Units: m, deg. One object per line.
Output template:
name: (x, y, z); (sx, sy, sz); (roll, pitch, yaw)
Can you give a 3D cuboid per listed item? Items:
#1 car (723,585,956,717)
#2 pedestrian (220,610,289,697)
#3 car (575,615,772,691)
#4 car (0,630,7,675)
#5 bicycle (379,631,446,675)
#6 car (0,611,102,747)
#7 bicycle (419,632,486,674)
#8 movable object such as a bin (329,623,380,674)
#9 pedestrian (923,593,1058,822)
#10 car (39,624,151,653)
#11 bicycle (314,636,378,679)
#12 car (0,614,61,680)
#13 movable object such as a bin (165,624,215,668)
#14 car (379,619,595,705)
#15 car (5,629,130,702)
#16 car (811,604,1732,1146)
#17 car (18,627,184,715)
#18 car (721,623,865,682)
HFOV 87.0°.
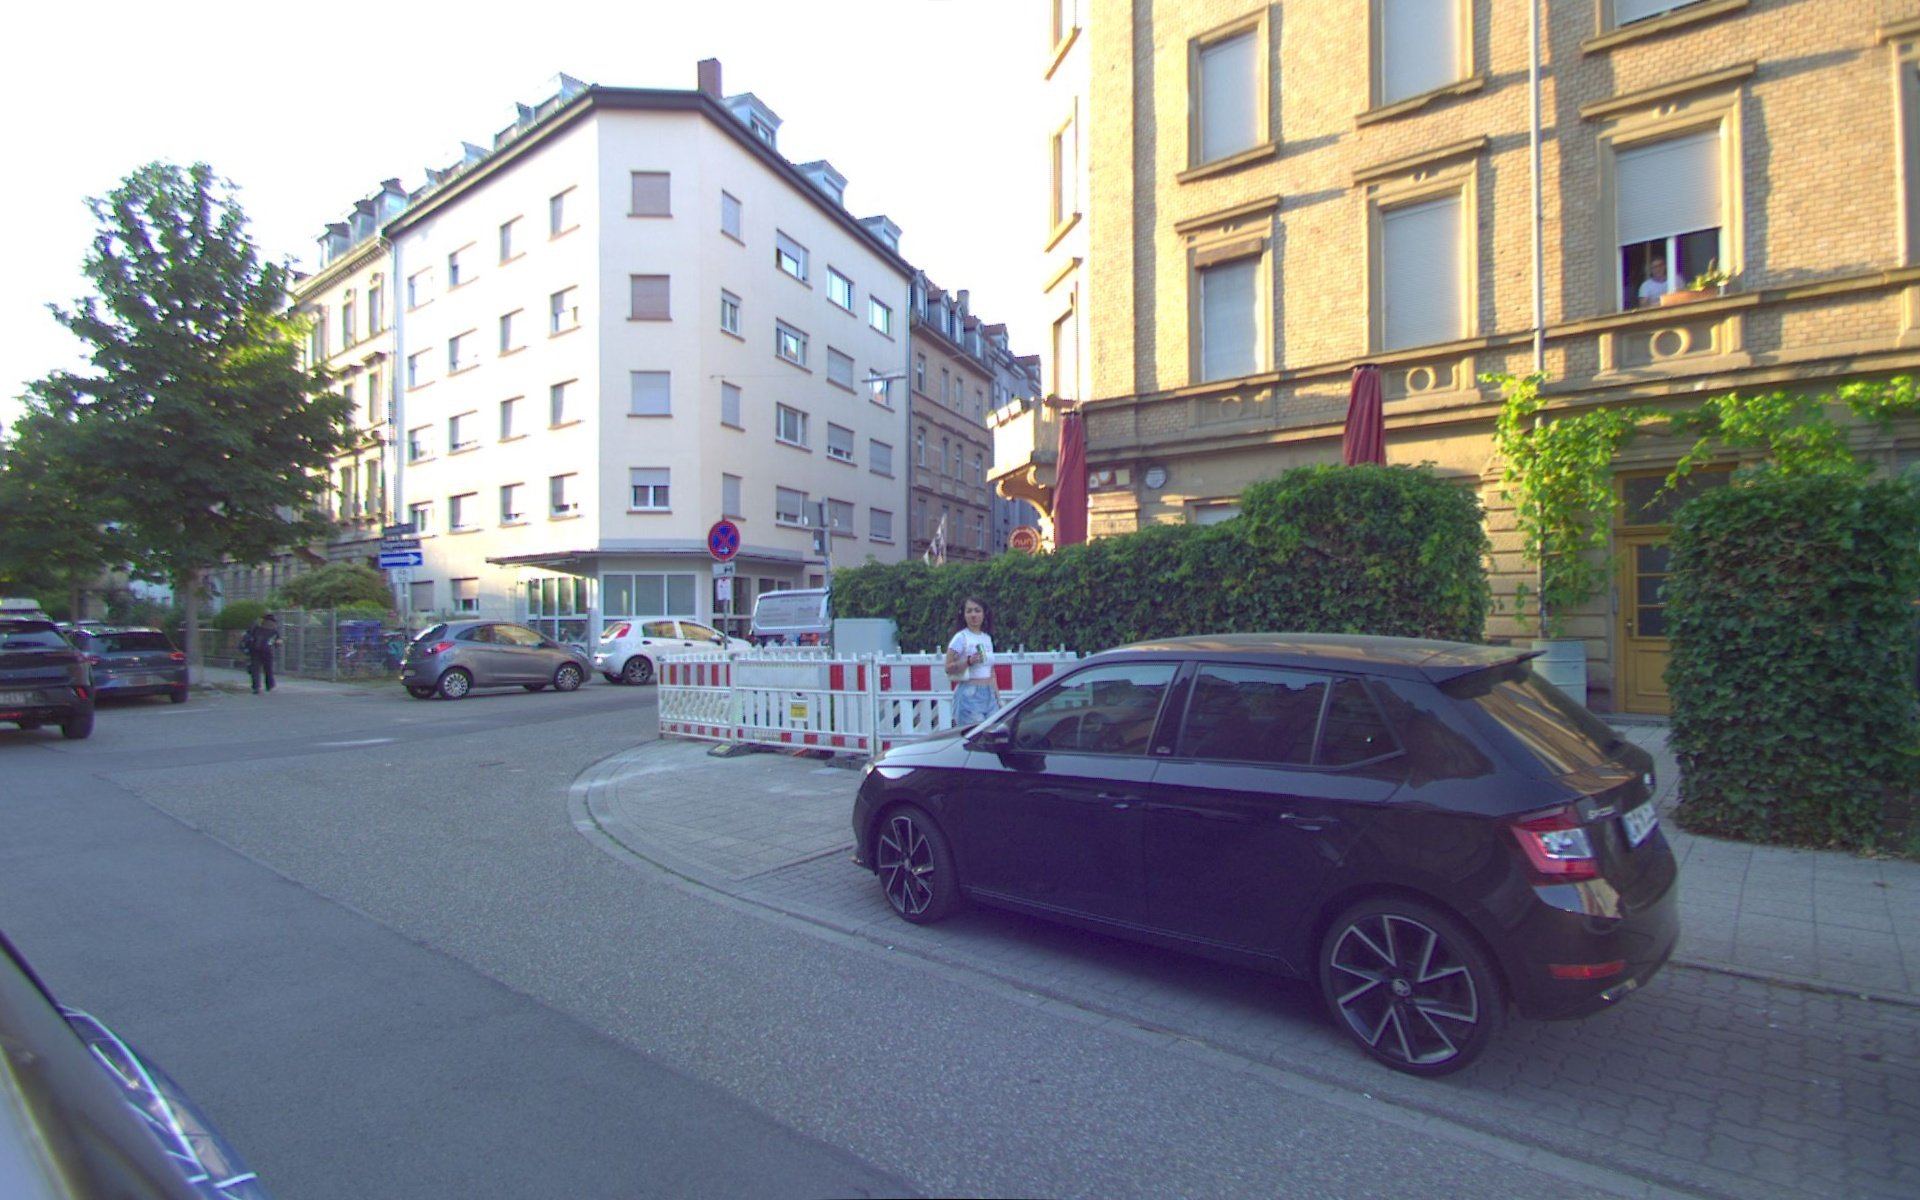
car: (-1.920, 0.843, 18.142); (2.190, 1.990, 5.264); (-1, -1, 17)
pedestrian: (-14.716, 1.090, 21.147); (0.876, 1.735, 0.961); (-1, 0, -15)
car: (-6.698, 1.168, 23.799); (4.007, 1.520, 1.978); (-1, 0, -37)
car: (-32.704, 1.719, 33.118); (4.020, 1.452, 1.711); (-1, -1, 39)
bicycle: (-14.640, 1.416, 27.080); (1.528, 1.100, 0.500); (-1, 0, 4)
car: (-12.379, 0.915, 12.624); (3.994, 1.529, 1.762); (-1, -2, 38)
bicycle: (-14.035, 1.459, 28.008); (1.689, 1.100, 0.384); (-1, 0, 5)
movable object such as a bin: (-17.107, 1.346, 28.563); (1.398, 1.362, 0.857); (-1, 0, 43)
pedestrian: (0.241, 0.773, 7.696); (0.782, 1.630, 0.706); (-1, 0, 25)
car: (-45.853, 2.013, 53.721); (1.625, 1.351, 4.356); (-1, -1, 41)
bicycle: (-15.712, 1.460, 25.875); (1.927, 1.033, 0.681); (-1, 0, 35)
car: (-27.728, 1.332, 29.349); (4.619, 1.792, 1.843); (-1, -1, 40)
movable object such as a bin: (-25.820, 1.537, 33.933); (1.549, 1.398, 0.937); (-1, 0, 37)
car: (-9.365, 1.175, 20.202); (1.843, 1.519, 3.471); (-3, -2, 40)
car: (-20.057, 1.402, 22.685); (4.143, 1.431, 1.723); (-1, -1, 43)
car: (1.191, 0.823, 4.822); (3.842, 1.546, 1.686); (-1, -1, 41)
car: (-16.524, 1.268, 19.397); (4.459, 1.472, 1.658); (-1, -1, 39)
car: (-4.454, 1.377, 27.573); (1.986, 1.450, 4.046); (-2, -2, 24)
